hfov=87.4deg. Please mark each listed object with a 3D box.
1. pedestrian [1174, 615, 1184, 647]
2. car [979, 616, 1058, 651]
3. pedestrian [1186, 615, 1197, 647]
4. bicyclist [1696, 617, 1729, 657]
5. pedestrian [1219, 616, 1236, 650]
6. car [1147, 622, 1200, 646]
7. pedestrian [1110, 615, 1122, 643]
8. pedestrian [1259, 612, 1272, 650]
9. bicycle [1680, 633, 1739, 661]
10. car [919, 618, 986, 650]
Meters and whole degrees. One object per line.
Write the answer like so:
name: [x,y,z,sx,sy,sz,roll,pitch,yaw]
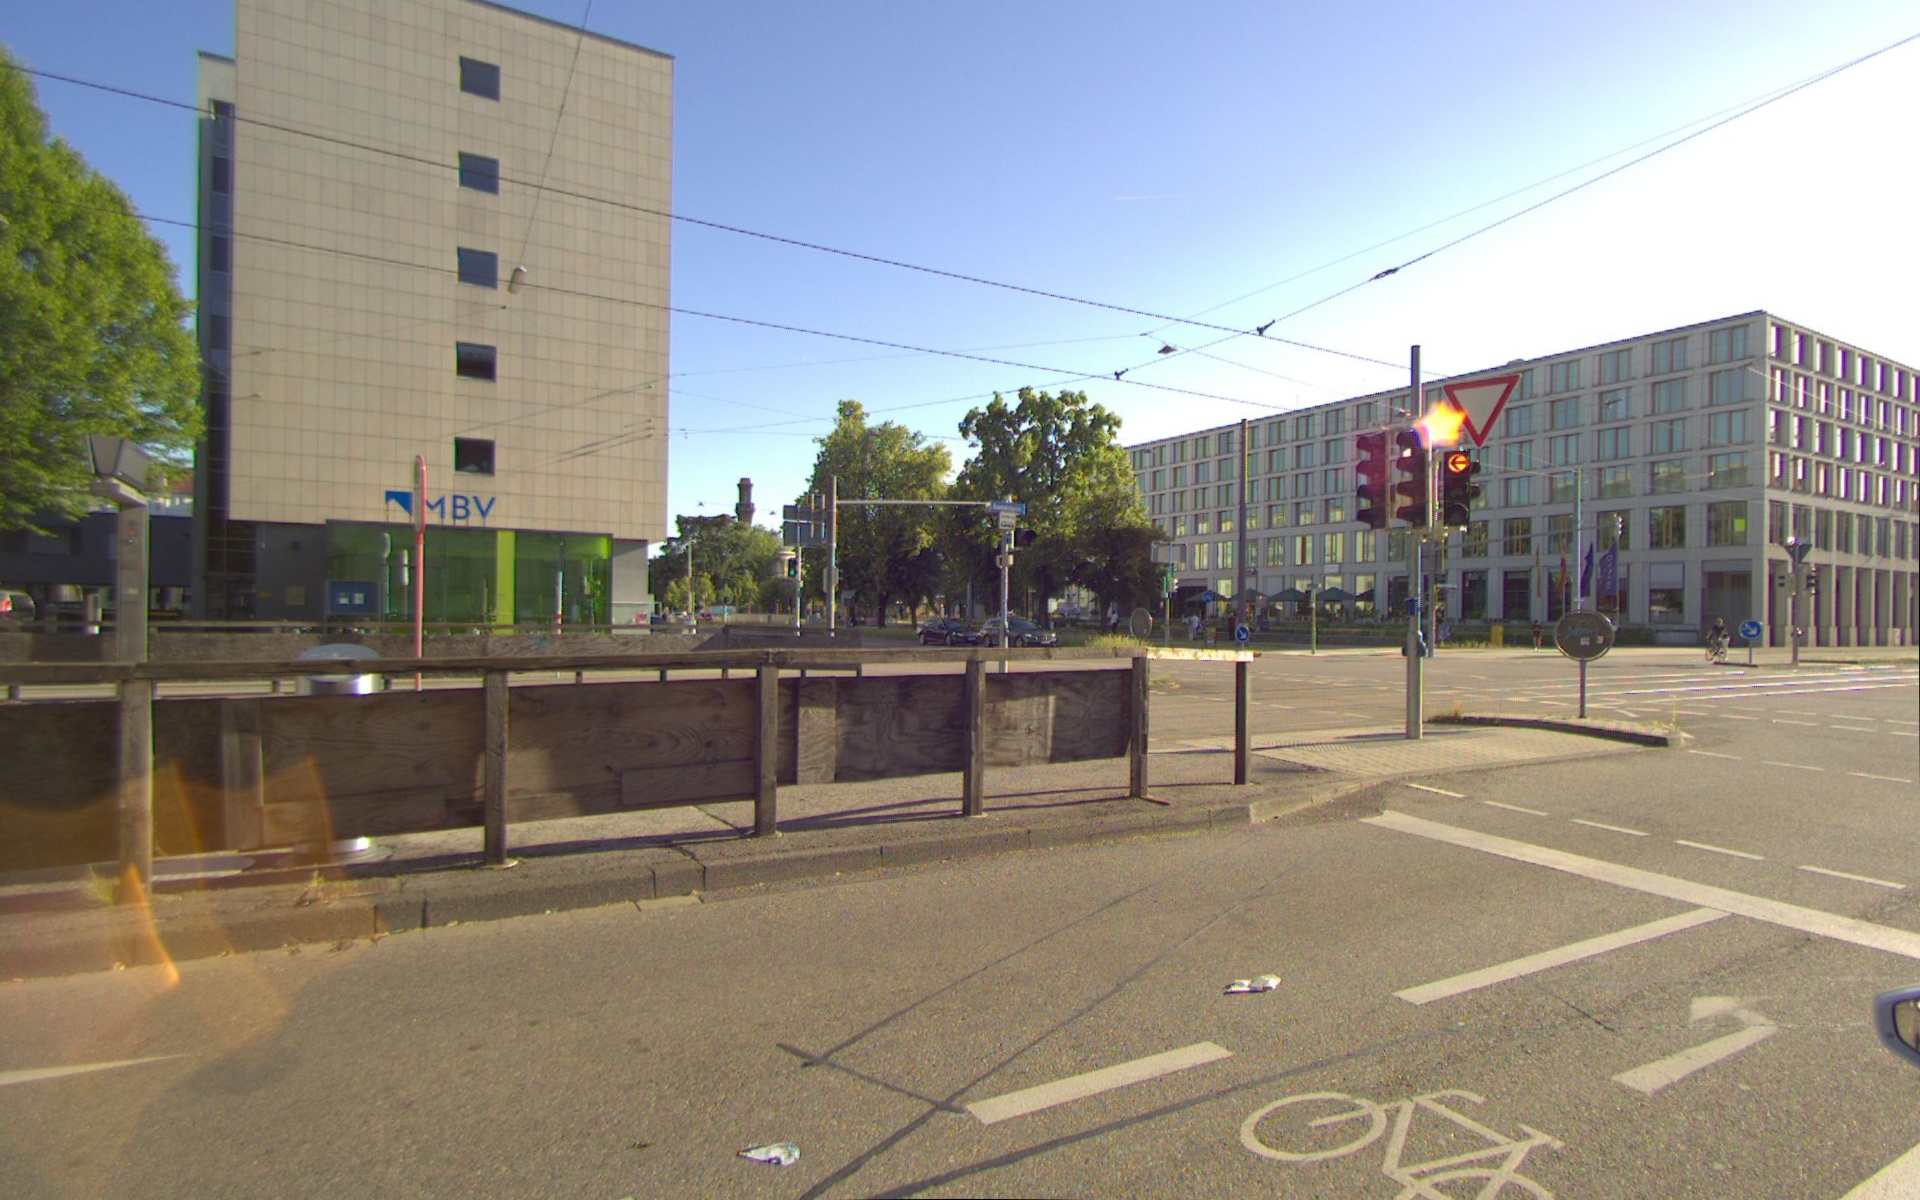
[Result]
pedestrian: [13.953,1.964,64.004,0.483,2.040,0.493,1,-1,-17]
car: [2.732,1.557,47.686,1.708,1.595,4.140,1,-1,-31]
pedestrian: [14.833,1.984,64.315,0.483,2.040,0.493,1,-1,-17]
bicyclist: [31.836,1.563,42.488,0.812,1.663,0.872,1,-1,-29]
pedestrian: [16.412,2.025,61.640,0.644,2.095,0.645,4,-3,-36]
car: [13.433,2.133,63.283,1.457,1.457,3.164,1,-1,-35]
pedestrian: [10.984,2.058,70.808,0.672,1.928,0.560,1,-1,-21]
pedestrian: [18.640,1.880,61.284,0.528,2.310,0.565,1,-1,-36]
bicycle: [31.688,1.964,42.444,2.976,1.136,0.871,1,-1,-29]
car: [-0.462,1.744,52.970,1.801,1.595,3.967,0,0,-31]
